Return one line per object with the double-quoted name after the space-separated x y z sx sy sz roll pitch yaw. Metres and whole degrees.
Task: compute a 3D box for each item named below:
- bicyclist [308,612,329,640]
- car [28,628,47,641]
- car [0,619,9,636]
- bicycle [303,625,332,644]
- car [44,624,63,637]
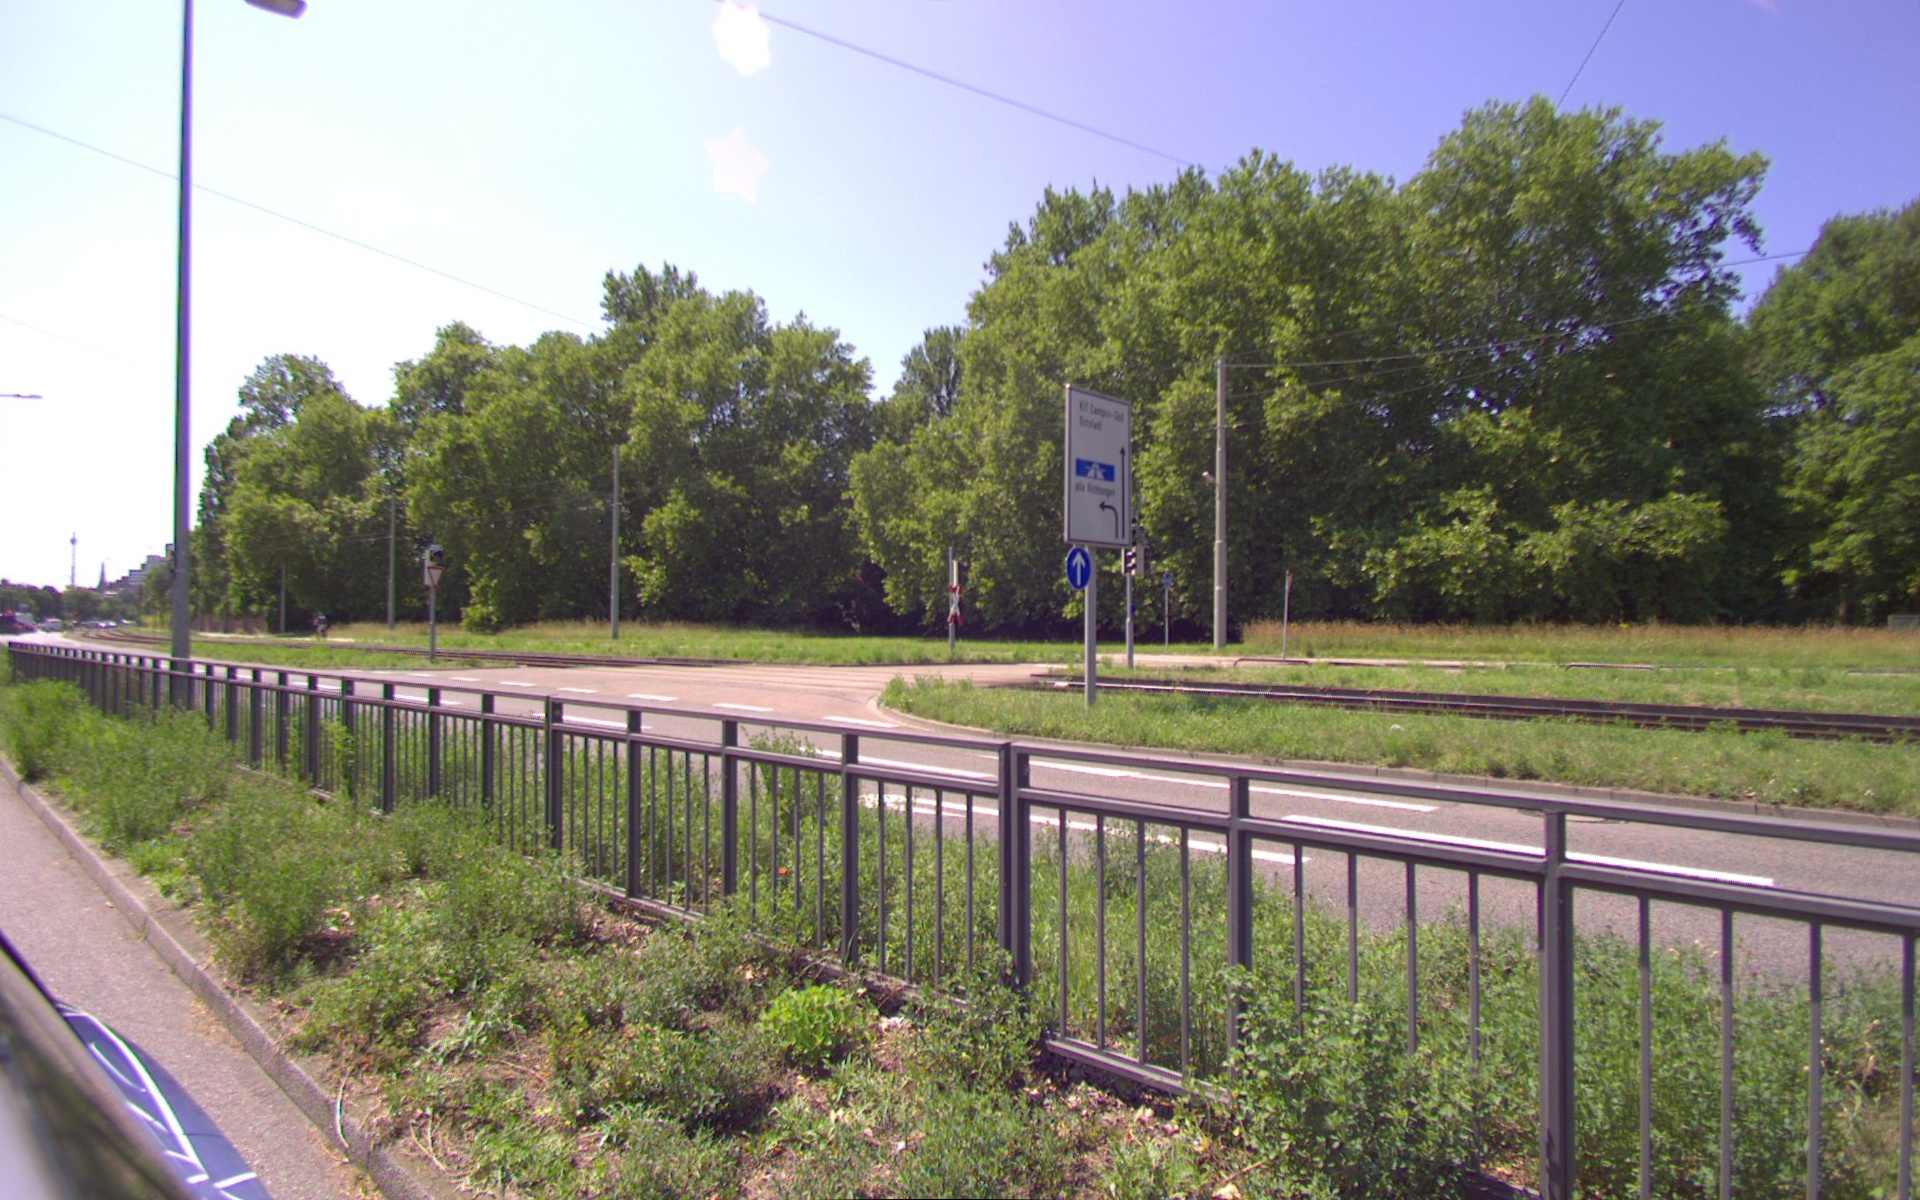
-41.592 1.669 65.595 1.117 1.820 0.851 -1 -2 41 "bicyclist"
-141.870 5.277 155.679 1.970 1.871 4.003 1 -2 -44 "car"
-107.892 3.106 113.329 1.970 1.871 4.004 1 -2 -43 "car"
-41.647 2.213 65.599 2.785 1.171 0.851 -1 -2 41 "bicycle"
-136.008 4.588 151.793 1.970 1.871 4.003 1 -2 -44 "car"
